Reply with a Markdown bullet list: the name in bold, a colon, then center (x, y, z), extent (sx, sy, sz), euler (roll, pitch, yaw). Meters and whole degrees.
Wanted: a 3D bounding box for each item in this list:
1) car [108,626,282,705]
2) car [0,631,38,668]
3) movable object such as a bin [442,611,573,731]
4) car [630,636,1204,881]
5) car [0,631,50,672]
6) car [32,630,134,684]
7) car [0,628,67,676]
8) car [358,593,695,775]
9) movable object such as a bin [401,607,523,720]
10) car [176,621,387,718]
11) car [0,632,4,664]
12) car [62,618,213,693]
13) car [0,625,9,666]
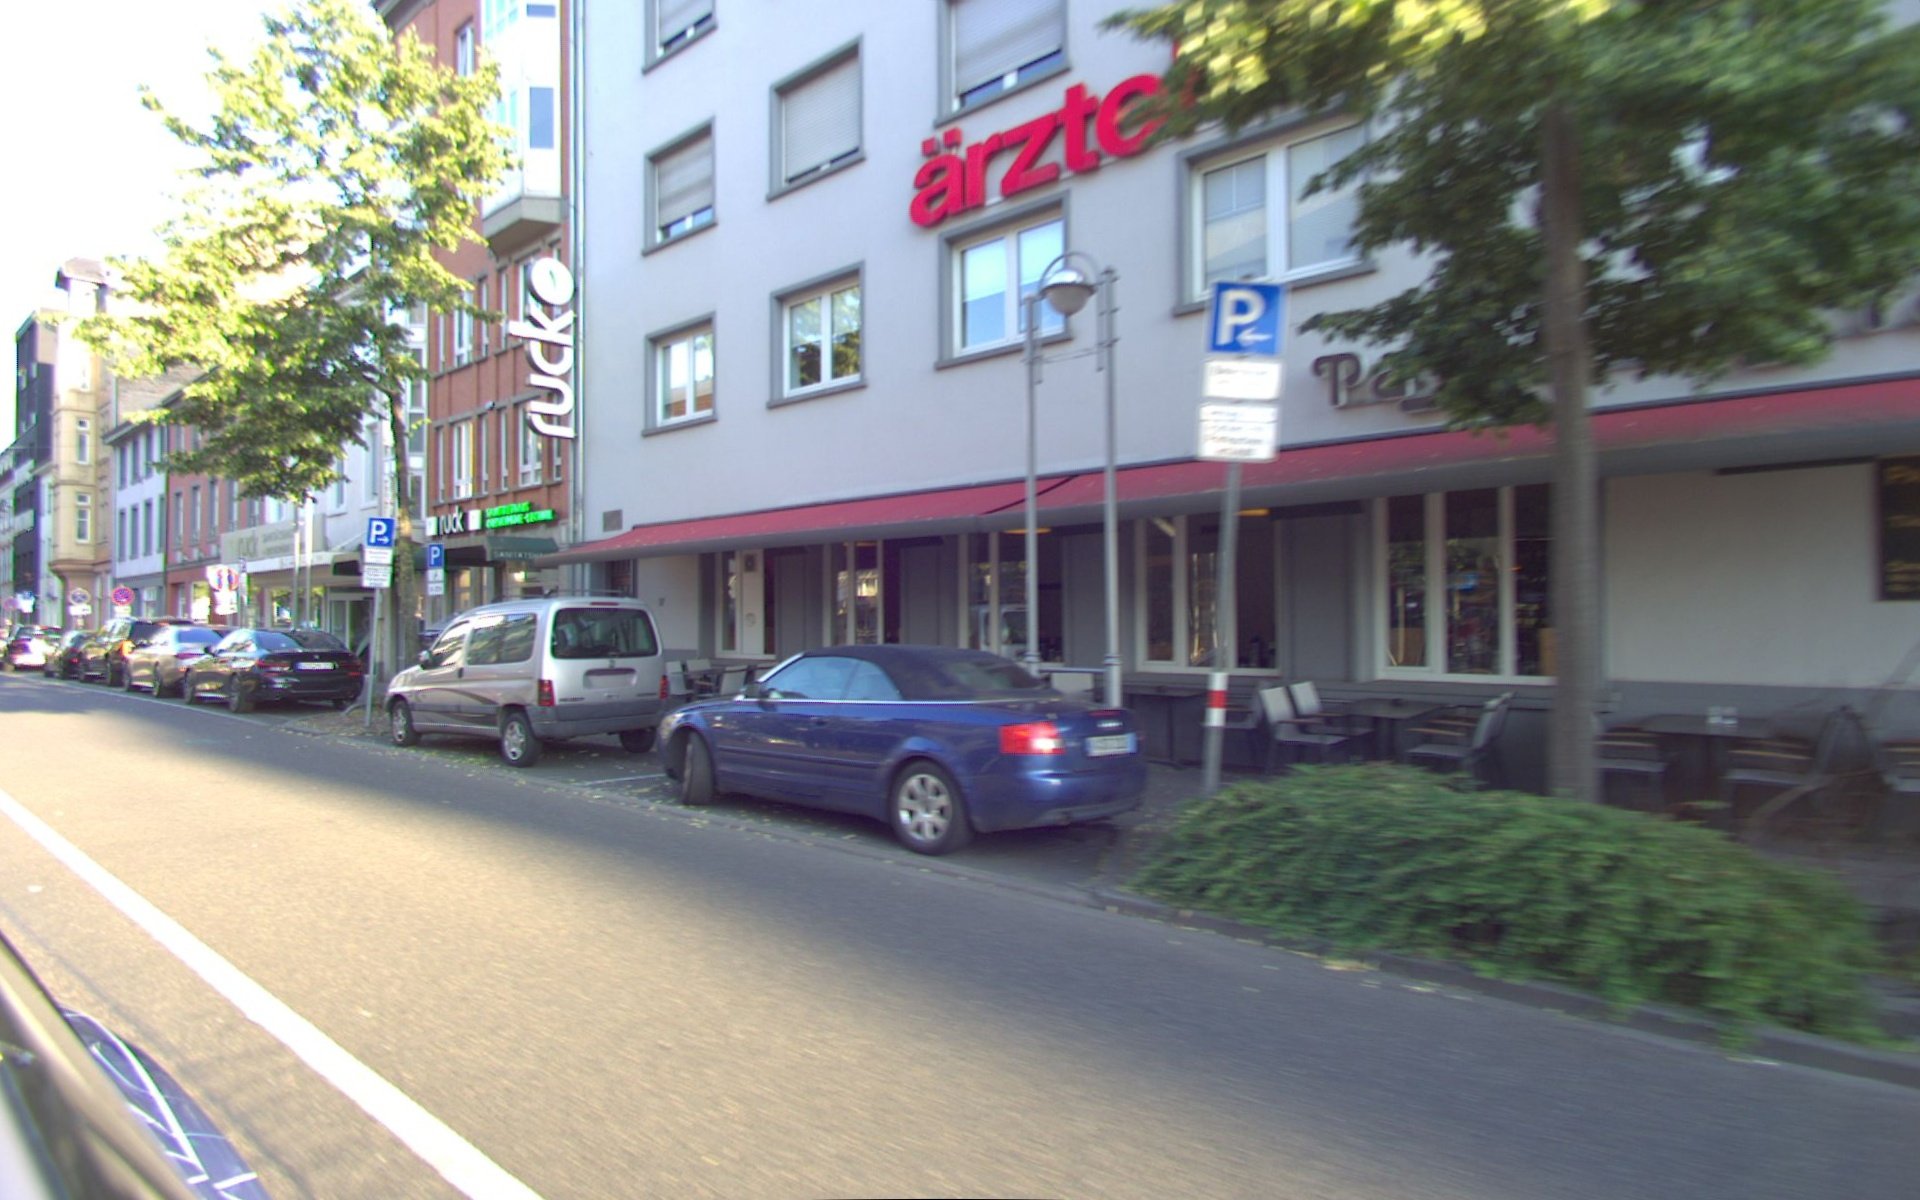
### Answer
- **car**: center (-16.736, 1.361, 22.044), extent (5.110, 1.522, 1.973), euler (-2, -3, 41)
- **car**: center (-39.363, 2.028, 41.629), extent (3.540, 1.475, 1.667), euler (-2, -3, 41)
- **movable object such as a bin**: center (-7.006, 1.060, 15.673), extent (1.438, 1.685, 1.269), euler (-2, 1, 38)
- **car**: center (-0.527, 0.989, 7.953), extent (4.378, 1.397, 1.895), euler (-2, -3, 40)
- **car**: center (-36.480, 1.959, 38.871), extent (3.864, 1.475, 1.748), euler (-2, -3, 41)
- **car**: center (-26.678, 1.699, 30.744), extent (4.215, 1.522, 1.748), euler (-2, -3, 41)
- **car**: center (-33.339, 1.829, 36.025), extent (4.215, 1.626, 1.748), euler (-2, -3, 41)
- **car**: center (-5.248, 0.907, 12.077), extent (4.141, 1.801, 1.897), euler (-2, -3, 37)
- **movable object such as a bin**: center (-8.157, 1.000, 16.577), extent (1.367, 1.685, 1.268), euler (-2, 1, 38)
- **car**: center (-12.224, 1.171, 18.123), extent (4.635, 1.522, 1.895), euler (-2, -3, 40)
- **car**: center (-48.523, 2.290, 48.077), extent (2.051, 1.594, 4.144), euler (-2, -3, 35)
- **car**: center (-21.844, 1.427, 26.801), extent (5.293, 1.783, 1.974), euler (-2, -3, 39)
- **car**: center (-43.242, 1.977, 43.982), extent (4.210, 1.766, 2.031), euler (-2, -3, 37)
